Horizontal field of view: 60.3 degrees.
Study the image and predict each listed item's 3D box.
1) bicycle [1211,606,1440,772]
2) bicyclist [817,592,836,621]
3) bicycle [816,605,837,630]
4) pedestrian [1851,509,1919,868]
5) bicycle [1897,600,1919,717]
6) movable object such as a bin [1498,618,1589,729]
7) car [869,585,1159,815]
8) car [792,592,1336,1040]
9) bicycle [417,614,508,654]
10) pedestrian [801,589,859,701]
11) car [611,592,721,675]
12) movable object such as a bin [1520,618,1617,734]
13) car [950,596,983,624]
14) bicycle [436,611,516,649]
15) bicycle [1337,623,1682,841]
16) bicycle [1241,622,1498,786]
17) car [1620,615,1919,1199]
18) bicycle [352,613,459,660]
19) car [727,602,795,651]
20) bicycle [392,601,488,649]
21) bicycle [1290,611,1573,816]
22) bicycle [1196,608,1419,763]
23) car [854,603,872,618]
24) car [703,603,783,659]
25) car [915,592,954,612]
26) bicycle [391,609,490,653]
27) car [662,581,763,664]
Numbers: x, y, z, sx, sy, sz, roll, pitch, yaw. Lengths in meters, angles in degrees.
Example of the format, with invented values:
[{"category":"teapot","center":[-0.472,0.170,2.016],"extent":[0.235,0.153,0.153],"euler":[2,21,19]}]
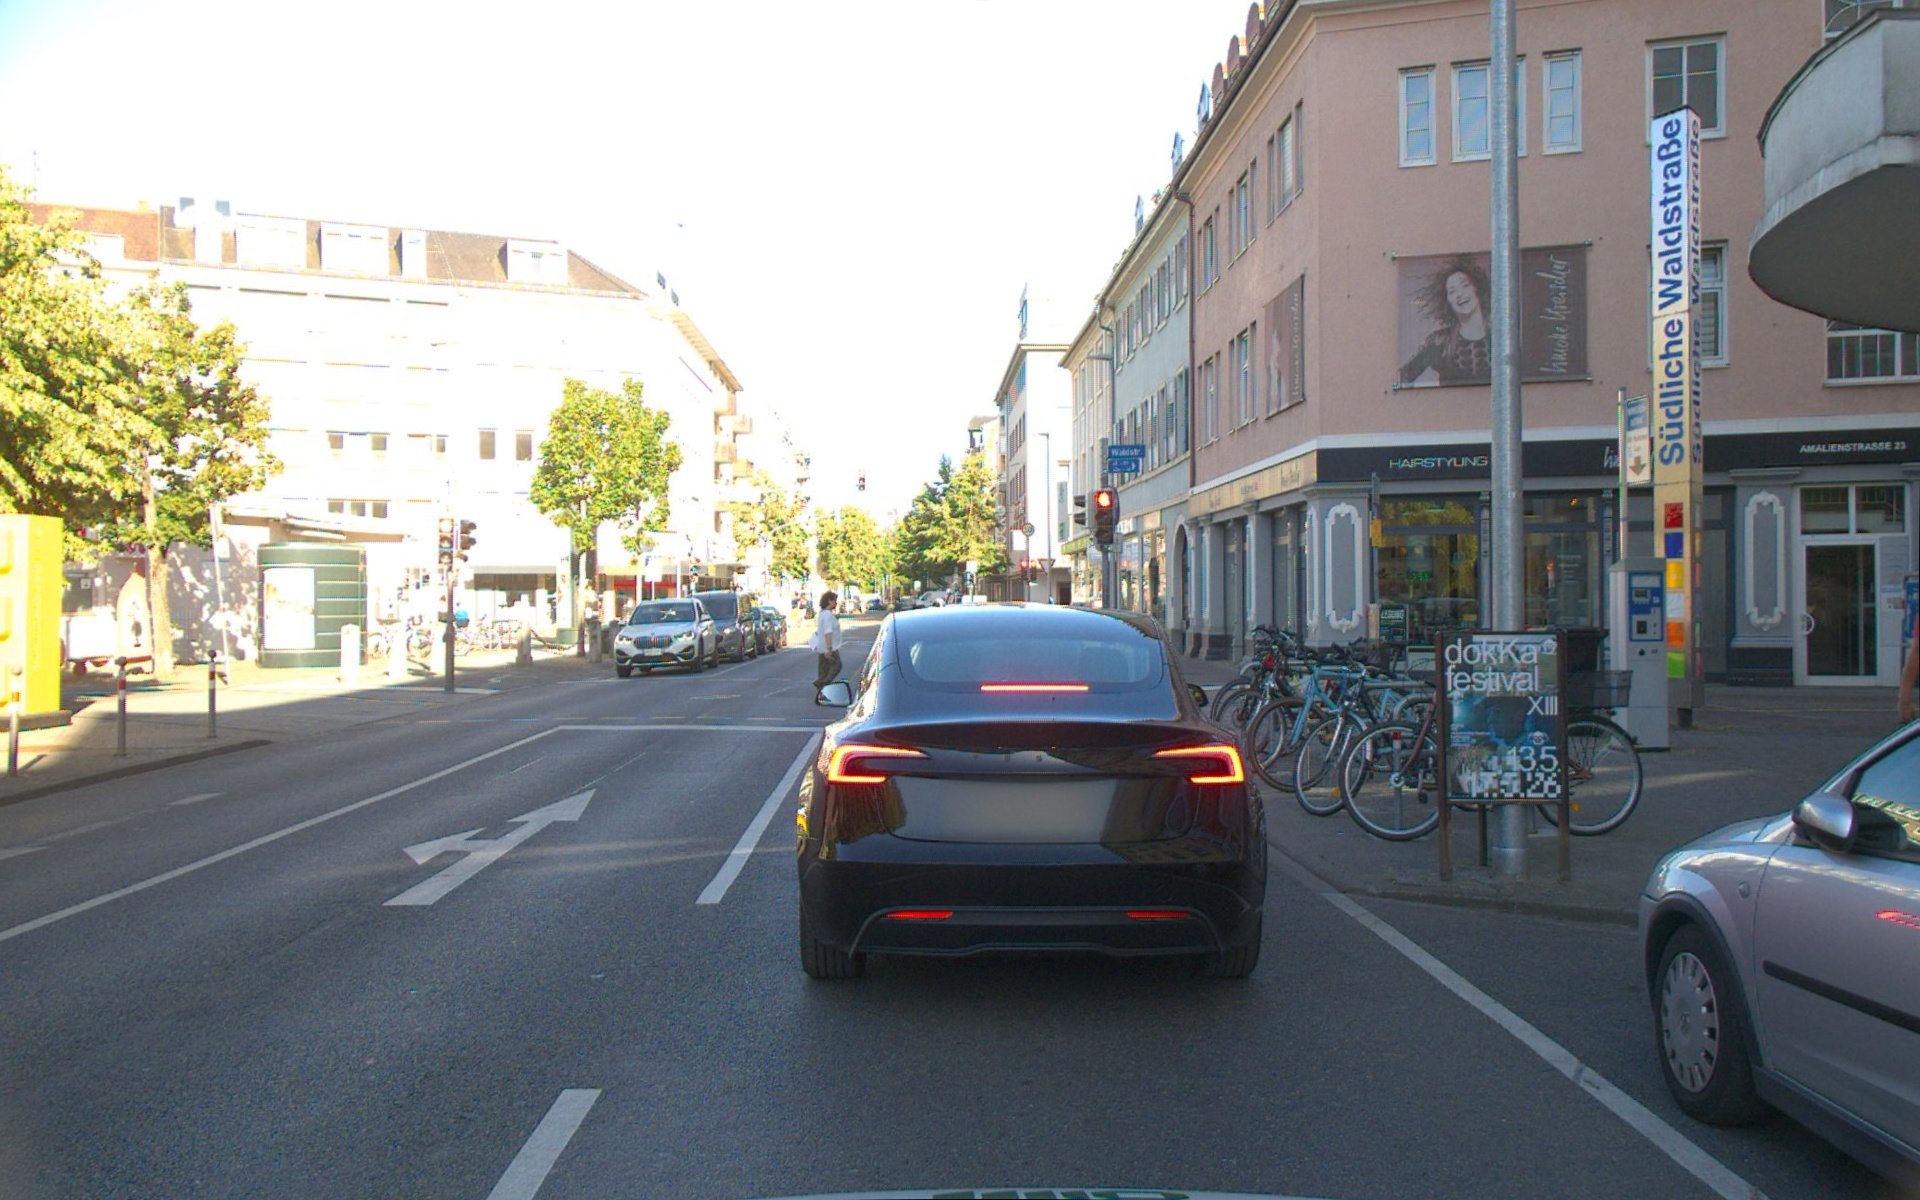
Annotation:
[{"category":"bicycle","center":[2.993,0.719,13.691],"extent":[1.709,1.289,0.781],"euler":[-2,0,2]},{"category":"bicyclist","center":[-7.709,0.376,95.500],"extent":[1.104,1.657,0.964],"euler":[0,0,-4]},{"category":"bicycle","center":[-7.693,1.003,95.406],"extent":[1.089,1.368,3.997],"euler":[0,0,-4]},{"category":"pedestrian","center":[5.267,0.433,8.471],"extent":[0.846,1.815,1.009],"euler":[-3,-1,7]},{"category":"bicycle","center":[10.270,0.606,17.022],"extent":[0.645,1.220,2.212],"euler":[0,0,18]},{"category":"movable object such as a bin","center":[6.029,0.749,17.107],"extent":[0.718,1.111,0.627],"euler":[1,0,1]},{"category":"car","center":[0.293,0.665,13.211],"extent":[1.953,1.538,4.173],"euler":[0,0,-2]},{"category":"car","center":[0.320,0.721,7.502],"extent":[1.810,1.480,3.999],"euler":[0,0,-1]},{"category":"bicycle","center":[-14.884,1.015,49.571],"extent":[2.485,1.176,0.841],"euler":[0,0,-6]},{"category":"pedestrian","center":[-1.876,0.640,23.819],"extent":[0.734,1.579,0.696],"euler":[0,0,-14]},{"category":"car","center":[-6.374,0.688,36.224],"extent":[1.771,1.582,4.307],"euler":[-4,0,-3]},{"category":"movable object such as a bin","center":[6.050,0.746,16.470],"extent":[0.737,1.111,0.627],"euler":[1,0,1]},{"category":"car","center":[0.354,0.585,100.725],"extent":[1.953,1.657,3.999],"euler":[0,0,-1]},{"category":"bicycle","center":[-15.208,0.942,51.994],"extent":[2.279,1.176,0.841],"euler":[0,0,-6]},{"category":"bicycle","center":[3.292,0.781,10.033],"extent":[1.846,1.214,0.692],"euler":[-2,1,5]},{"category":"bicycle","center":[3.062,0.769,12.513],"extent":[1.760,1.144,0.782],"euler":[-2,0,5]},{"category":"car","center":[2.937,0.775,3.523],"extent":[1.580,1.406,3.642],"euler":[1,0,0]},{"category":"bicycle","center":[-14.185,0.923,42.360],"extent":[2.455,1.176,0.842],"euler":[0,0,-2]},{"category":"car","center":[-6.799,0.873,56.915],"extent":[1.954,1.461,4.671],"euler":[-4,0,-3]},{"category":"bicycle","center":[-14.706,0.697,46.817],"extent":[2.429,1.347,0.921],"euler":[0,0,-6]},{"category":"bicycle","center":[3.145,0.747,11.163],"extent":[1.686,1.290,0.791],"euler":[-2,0,5]},{"category":"bicycle","center":[3.058,0.746,14.722],"extent":[1.822,1.280,0.833],"euler":[-2,0,5]},{"category":"car","center":[-10.980,1.224,186.898],"extent":[1.954,1.666,3.997],"euler":[0,0,-4]},{"category":"car","center":[-6.416,0.885,49.329],"extent":[1.954,1.434,4.671],"euler":[-4,0,-3]},{"category":"car","center":[-2.566,0.169,167.521],"extent":[3.907,2.049,1.999],"euler":[0,0,-2]},{"category":"bicycle","center":[-14.098,0.842,44.894],"extent":[2.412,1.176,0.842],"euler":[0,0,-2]},{"category":"car","center":[-6.294,0.533,42.509],"extent":[1.797,1.877,4.674],"euler":[-4,0,0]}]
